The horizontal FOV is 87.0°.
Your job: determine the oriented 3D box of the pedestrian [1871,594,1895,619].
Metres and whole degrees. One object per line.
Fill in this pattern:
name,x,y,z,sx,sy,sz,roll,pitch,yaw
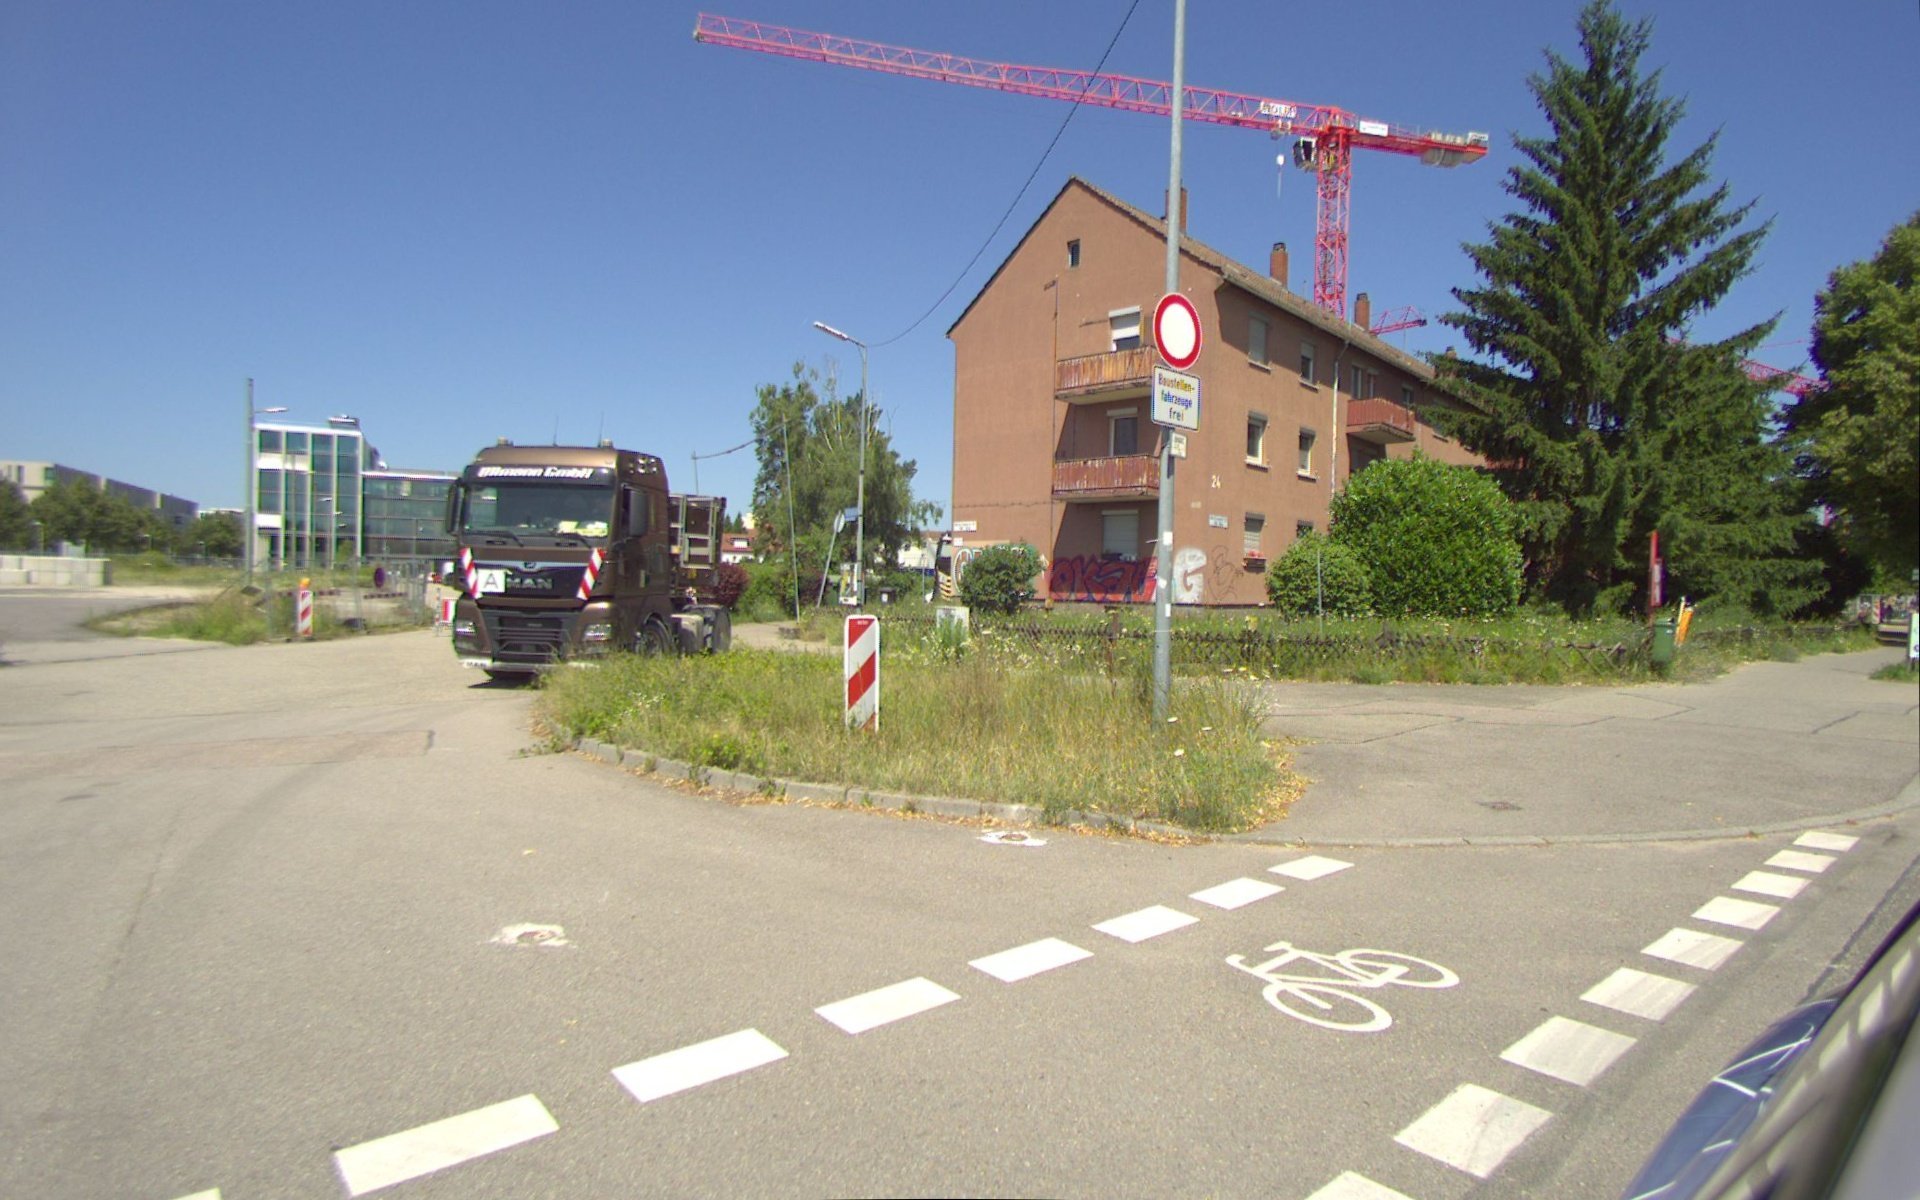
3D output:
pedestrian,58.550,0.423,64.177,0.670,1.536,1.023,1,1,-40

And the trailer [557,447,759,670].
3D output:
trailer,-6.632,-0.753,21.003,3.098,3.577,9.011,1,1,-22

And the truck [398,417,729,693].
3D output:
truck,-5.813,-0.643,15.832,3.106,3.577,4.963,1,1,1
